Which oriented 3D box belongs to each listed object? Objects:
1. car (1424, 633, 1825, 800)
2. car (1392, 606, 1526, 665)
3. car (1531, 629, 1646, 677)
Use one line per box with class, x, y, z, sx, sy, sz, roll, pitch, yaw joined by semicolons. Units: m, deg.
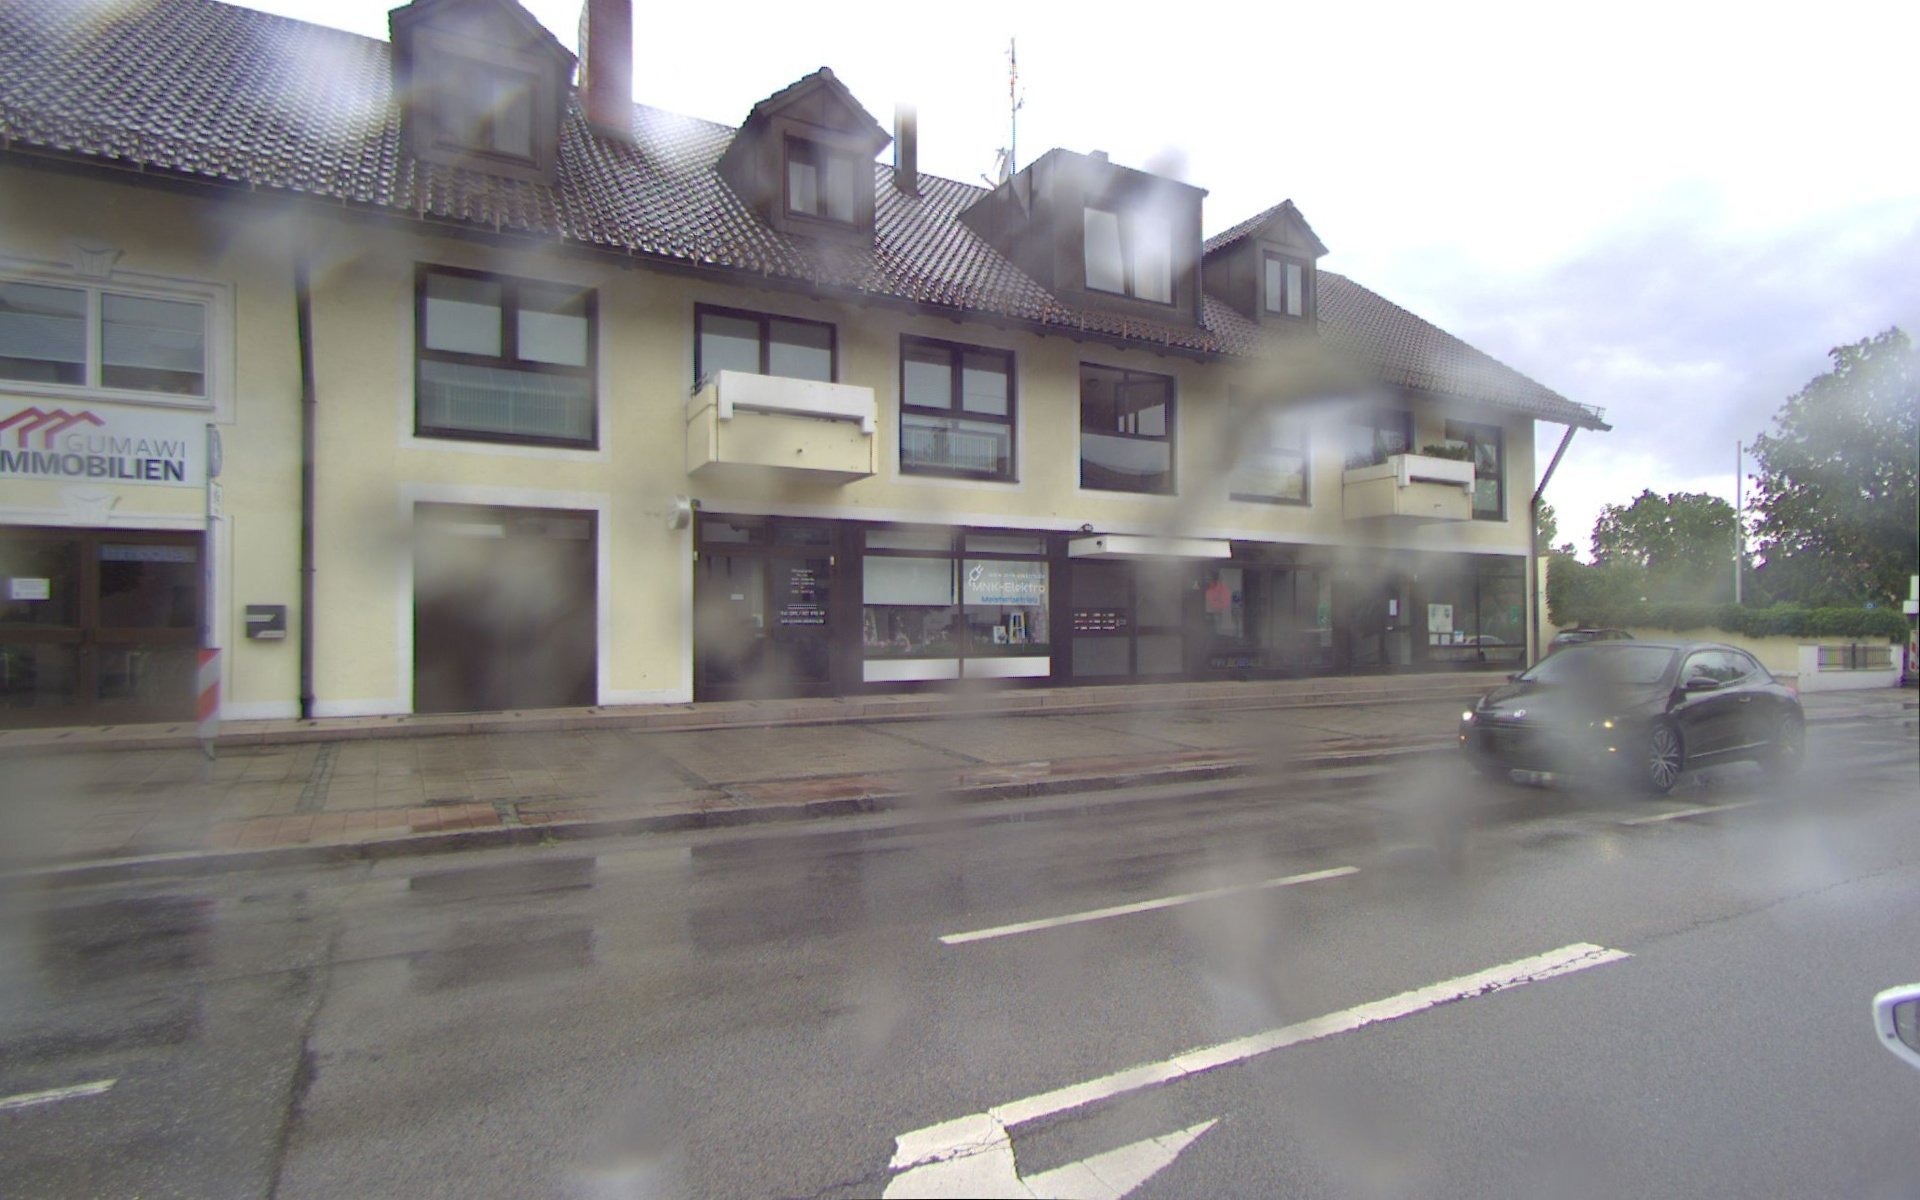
car;6.928;1.074;10.452;3.838;1.426;1.987;1;-3;-30
car;17.453;1.239;35.080;4.682;1.944;1.955;1;-3;-31
car;19.474;1.618;31.118;3.467;1.398;1.600;1;-3;-30
